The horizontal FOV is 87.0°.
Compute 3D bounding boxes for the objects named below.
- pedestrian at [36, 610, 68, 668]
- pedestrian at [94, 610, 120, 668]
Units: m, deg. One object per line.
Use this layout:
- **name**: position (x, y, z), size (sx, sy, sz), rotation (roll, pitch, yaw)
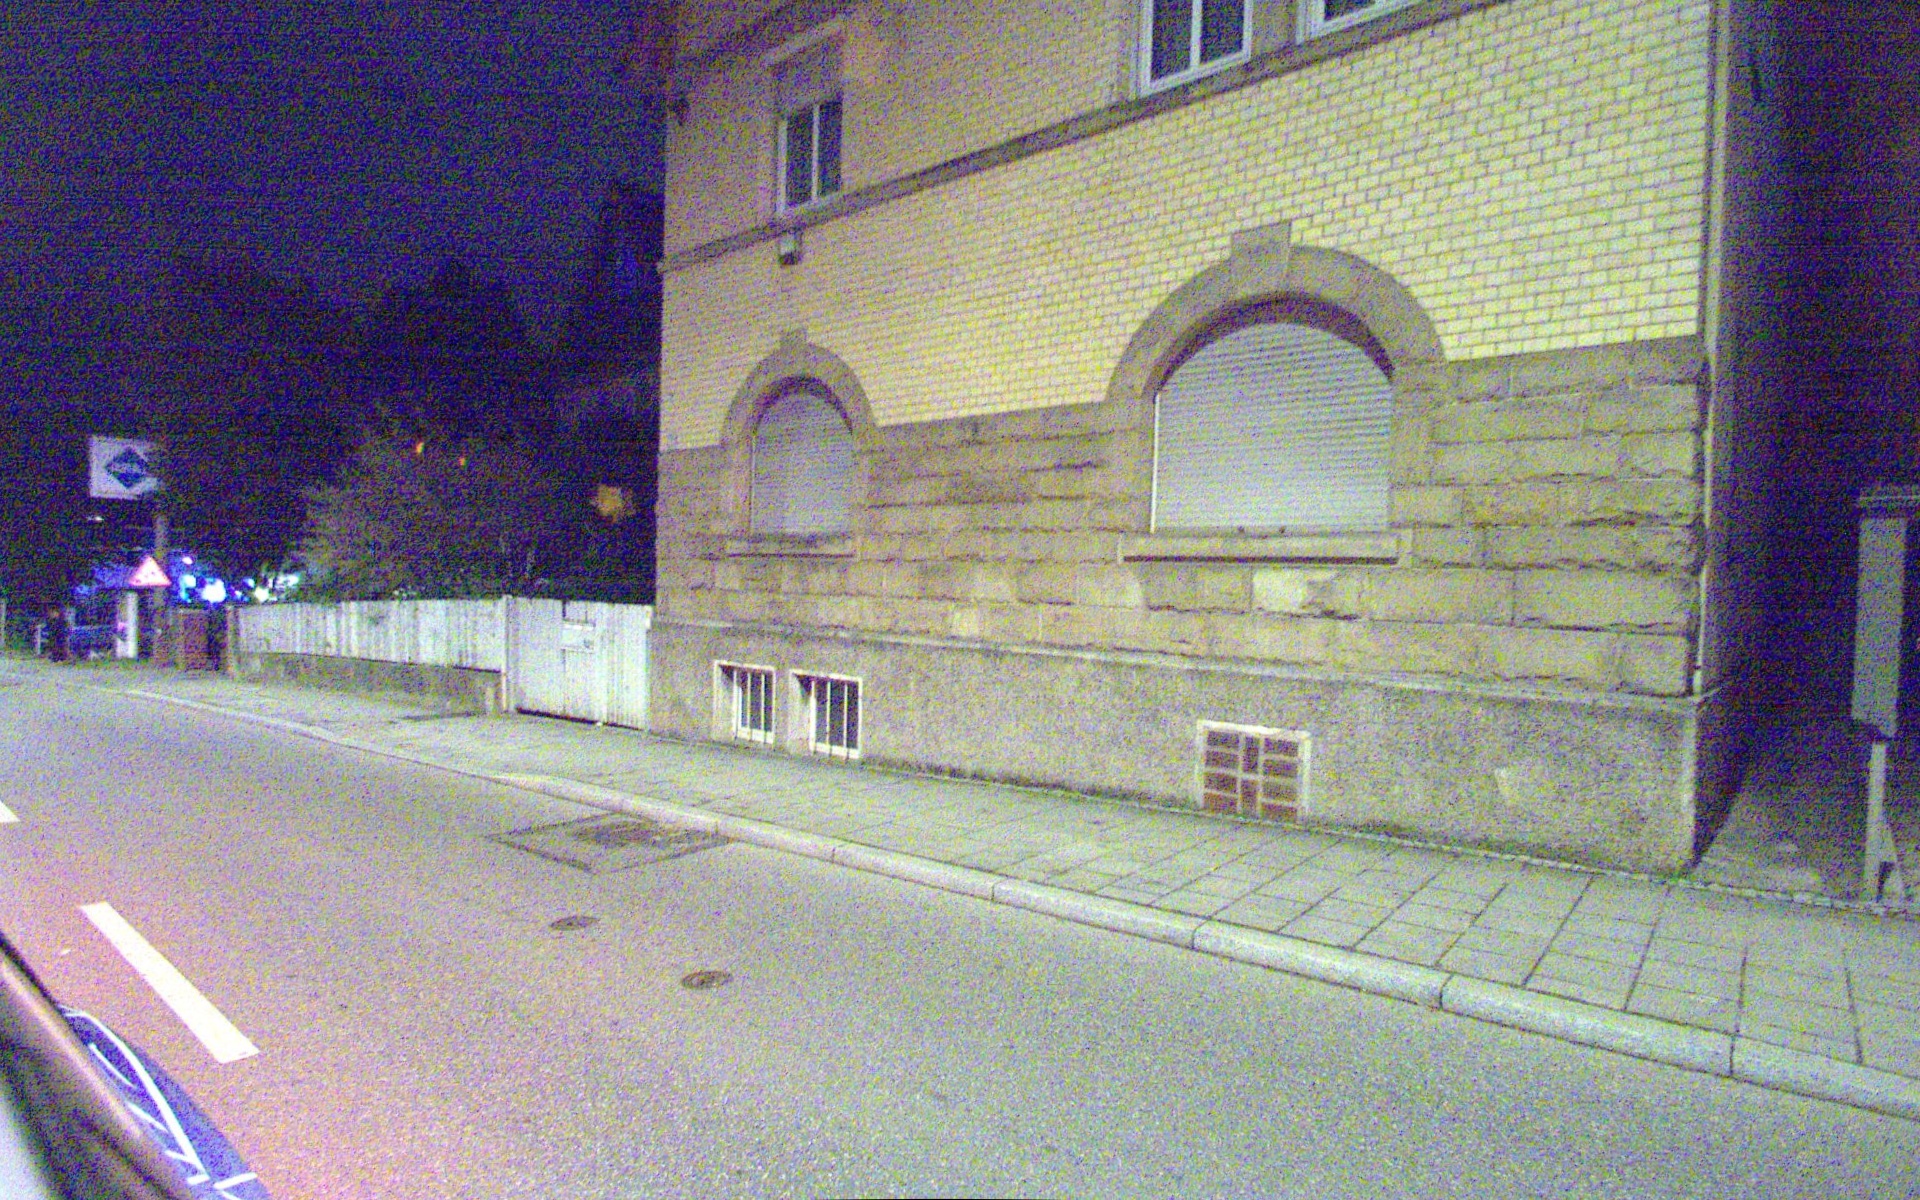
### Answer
- **pedestrian**: position (-27.957, 1.187, 31.153), size (0.500, 1.773, 0.664), rotation (-1, 0, 41)
- **pedestrian**: position (-26.962, 1.223, 31.981), size (0.500, 1.773, 0.557), rotation (-1, 0, 41)
